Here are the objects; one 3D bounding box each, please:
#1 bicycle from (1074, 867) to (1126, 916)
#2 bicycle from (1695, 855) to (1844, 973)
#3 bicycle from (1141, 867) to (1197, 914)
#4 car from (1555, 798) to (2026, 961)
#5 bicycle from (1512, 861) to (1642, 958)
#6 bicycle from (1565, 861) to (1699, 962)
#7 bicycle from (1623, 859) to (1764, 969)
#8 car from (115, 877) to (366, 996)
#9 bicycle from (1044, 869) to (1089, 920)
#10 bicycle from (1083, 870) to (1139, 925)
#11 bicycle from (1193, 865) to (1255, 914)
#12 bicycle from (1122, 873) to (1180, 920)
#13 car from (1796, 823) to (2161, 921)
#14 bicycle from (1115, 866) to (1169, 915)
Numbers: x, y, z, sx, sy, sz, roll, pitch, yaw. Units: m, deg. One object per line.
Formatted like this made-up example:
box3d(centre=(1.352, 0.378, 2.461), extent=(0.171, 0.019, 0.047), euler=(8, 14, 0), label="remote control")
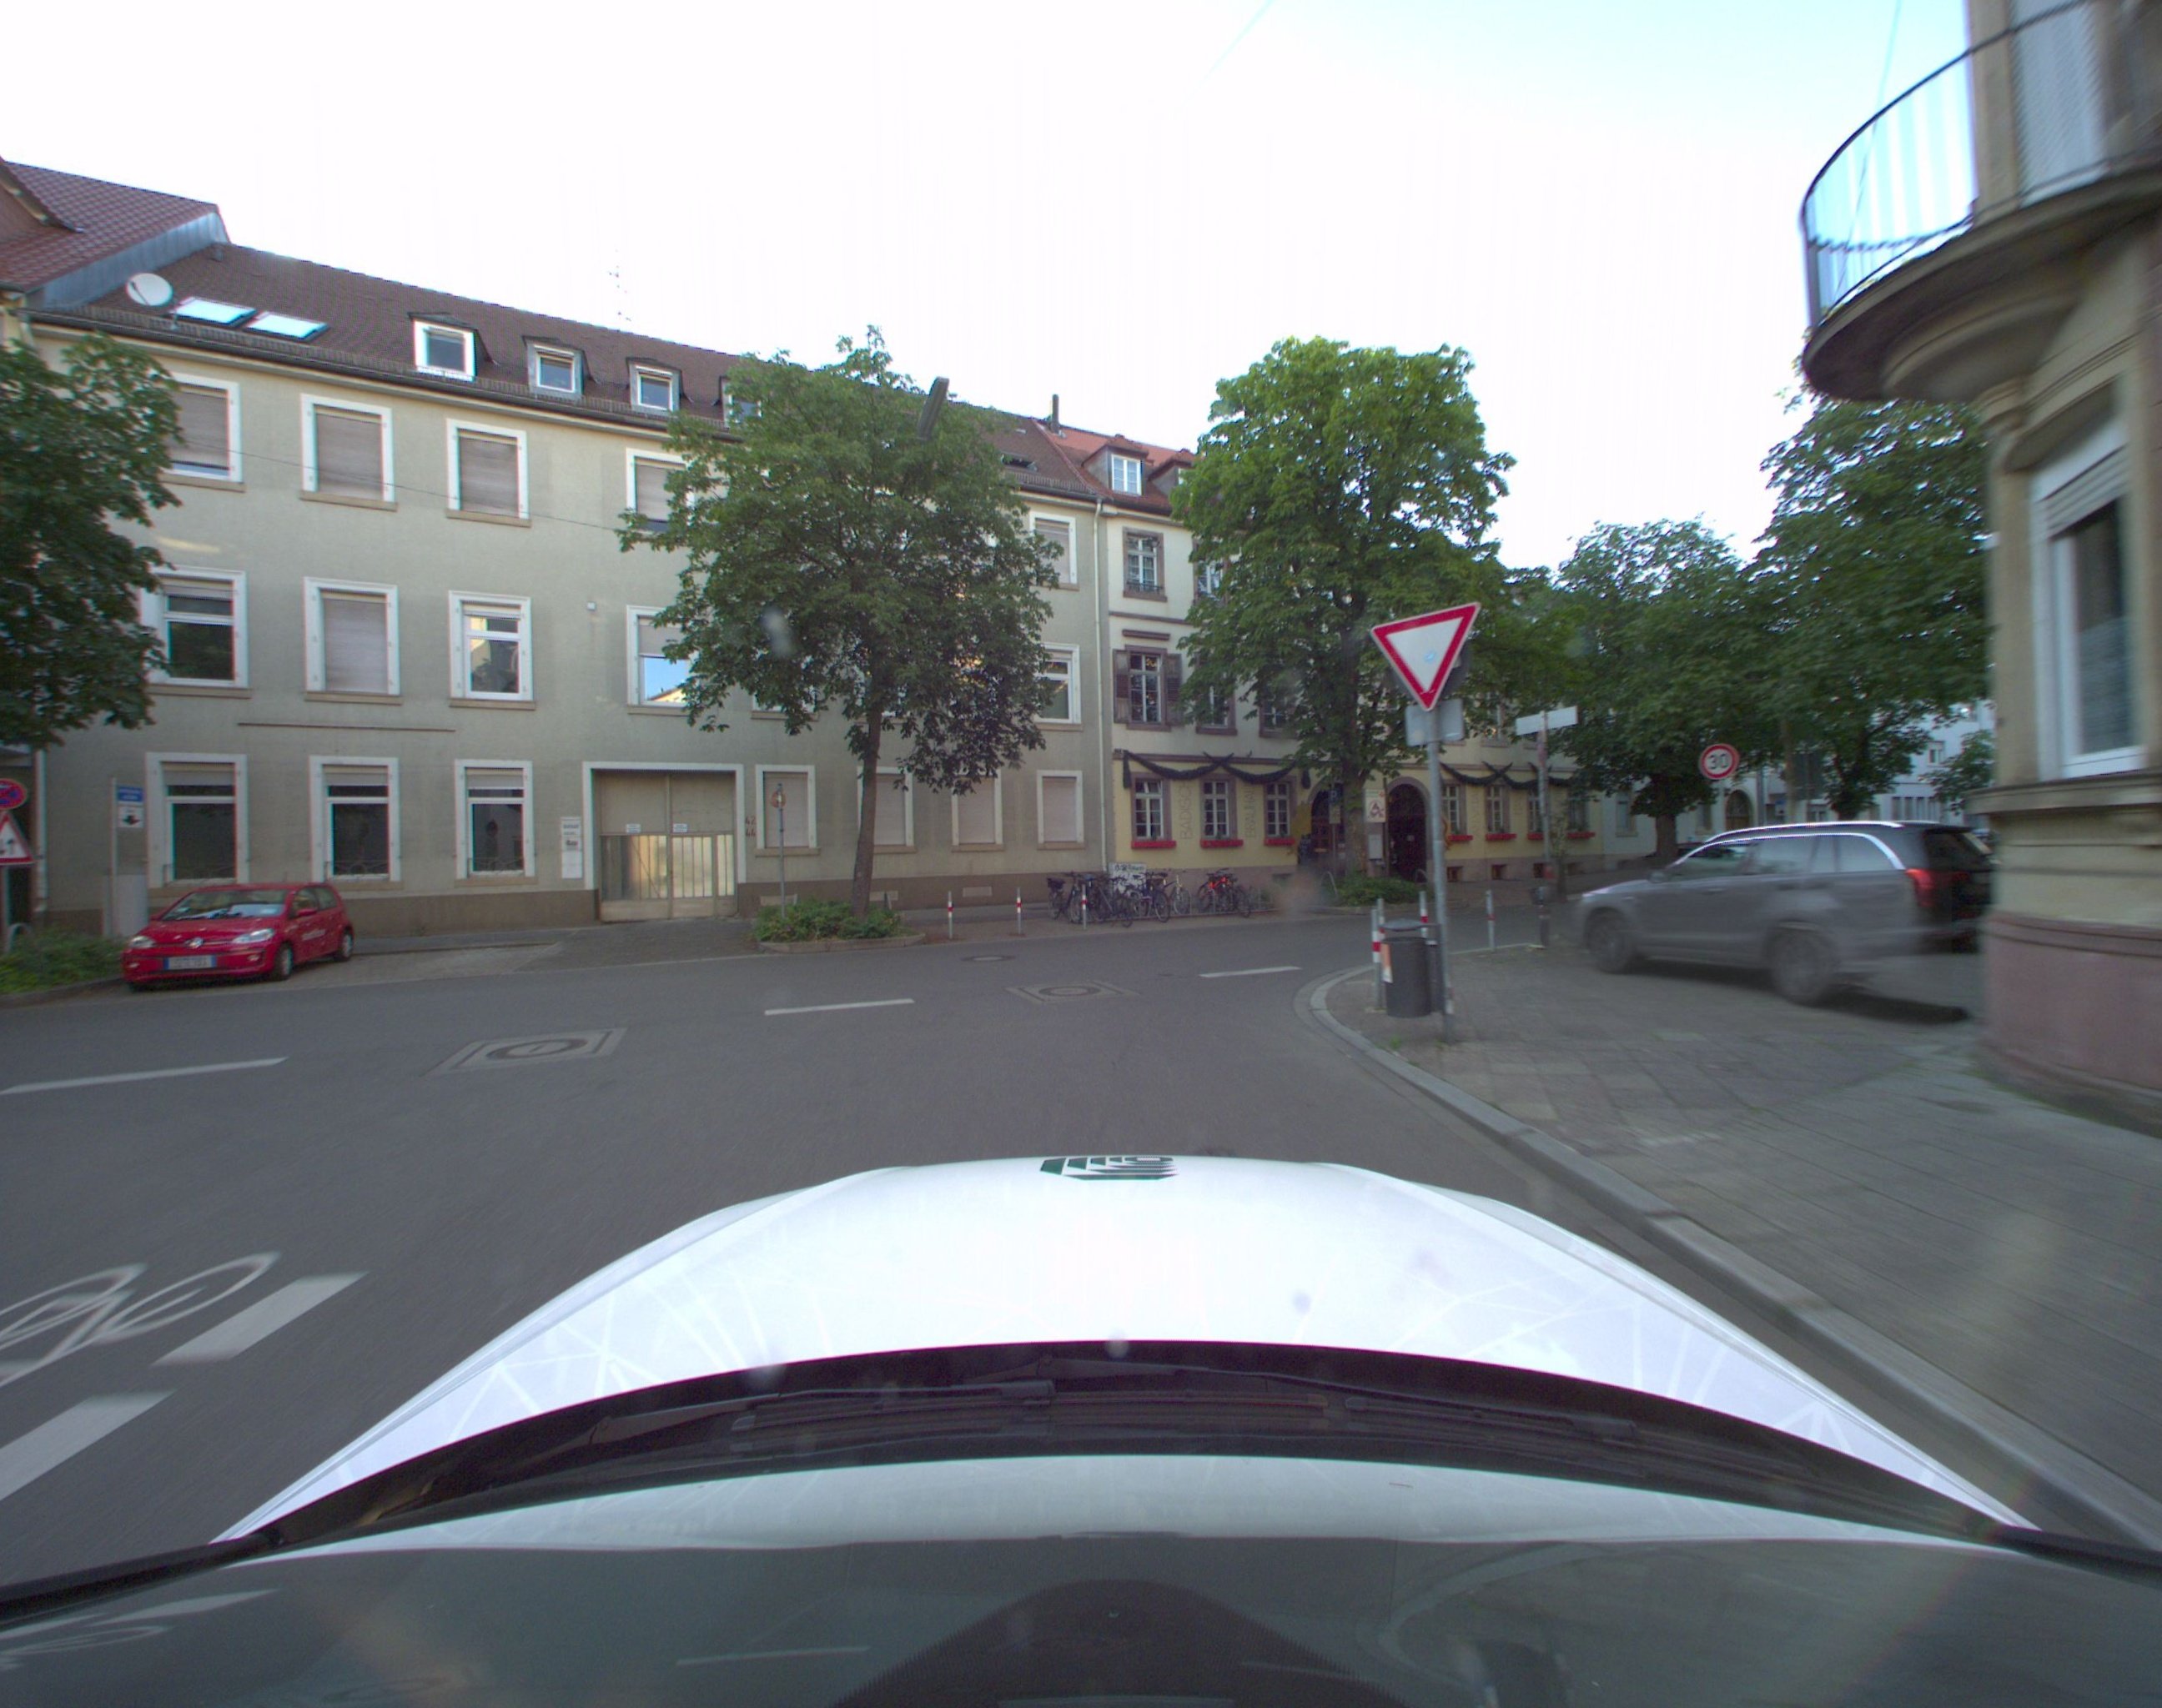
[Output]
box3d(centre=(0.445, 0.892, 20.052), extent=(0.422, 1.145, 2.026), euler=(-2, 0, -24), label="bicycle")
box3d(centre=(7.343, 0.603, 8.666), extent=(1.872, 1.089, 0.362), euler=(-3, -1, -24), label="bicycle")
box3d(centre=(2.229, 0.904, 20.870), extent=(0.422, 1.145, 2.026), euler=(-2, 0, -24), label="bicycle")
box3d(centre=(9.347, 0.349, 11.319), extent=(1.778, 1.738, 4.557), euler=(-3, -1, -22), label="car")
box3d(centre=(6.439, 0.690, 10.548), extent=(1.872, 1.089, 0.362), euler=(-3, -1, -24), label="bicycle")
box3d(centre=(6.824, 0.684, 10.060), extent=(1.872, 1.089, 0.362), euler=(-3, -1, -24), label="bicycle")
box3d(centre=(7.018, 0.656, 9.307), extent=(1.872, 1.089, 0.362), euler=(-3, -1, -24), label="bicycle")
box3d(centre=(-13.206, 1.176, 13.090), extent=(1.568, 1.475, 3.637), euler=(-2, 1, -25), label="car")
box3d(centre=(-0.376, 0.943, 19.656), extent=(0.446, 1.145, 2.028), euler=(-2, 0, -20), label="bicycle")
box3d(centre=(0.644, 0.951, 18.372), extent=(0.447, 1.145, 2.027), euler=(-2, 0, -22), label="bicycle")
box3d(centre=(3.544, 0.867, 20.366), extent=(0.422, 1.145, 2.026), euler=(-2, 0, -24), label="bicycle")
box3d(centre=(1.622, 0.980, 19.215), extent=(0.422, 1.004, 2.026), euler=(-2, 0, -24), label="bicycle")
box3d(centre=(16.249, 0.285, 14.908), extent=(1.778, 1.487, 4.413), euler=(-2, 0, -22), label="car")
box3d(centre=(1.530, 0.896, 20.642), extent=(0.422, 1.145, 2.026), euler=(-2, 0, -24), label="bicycle")
